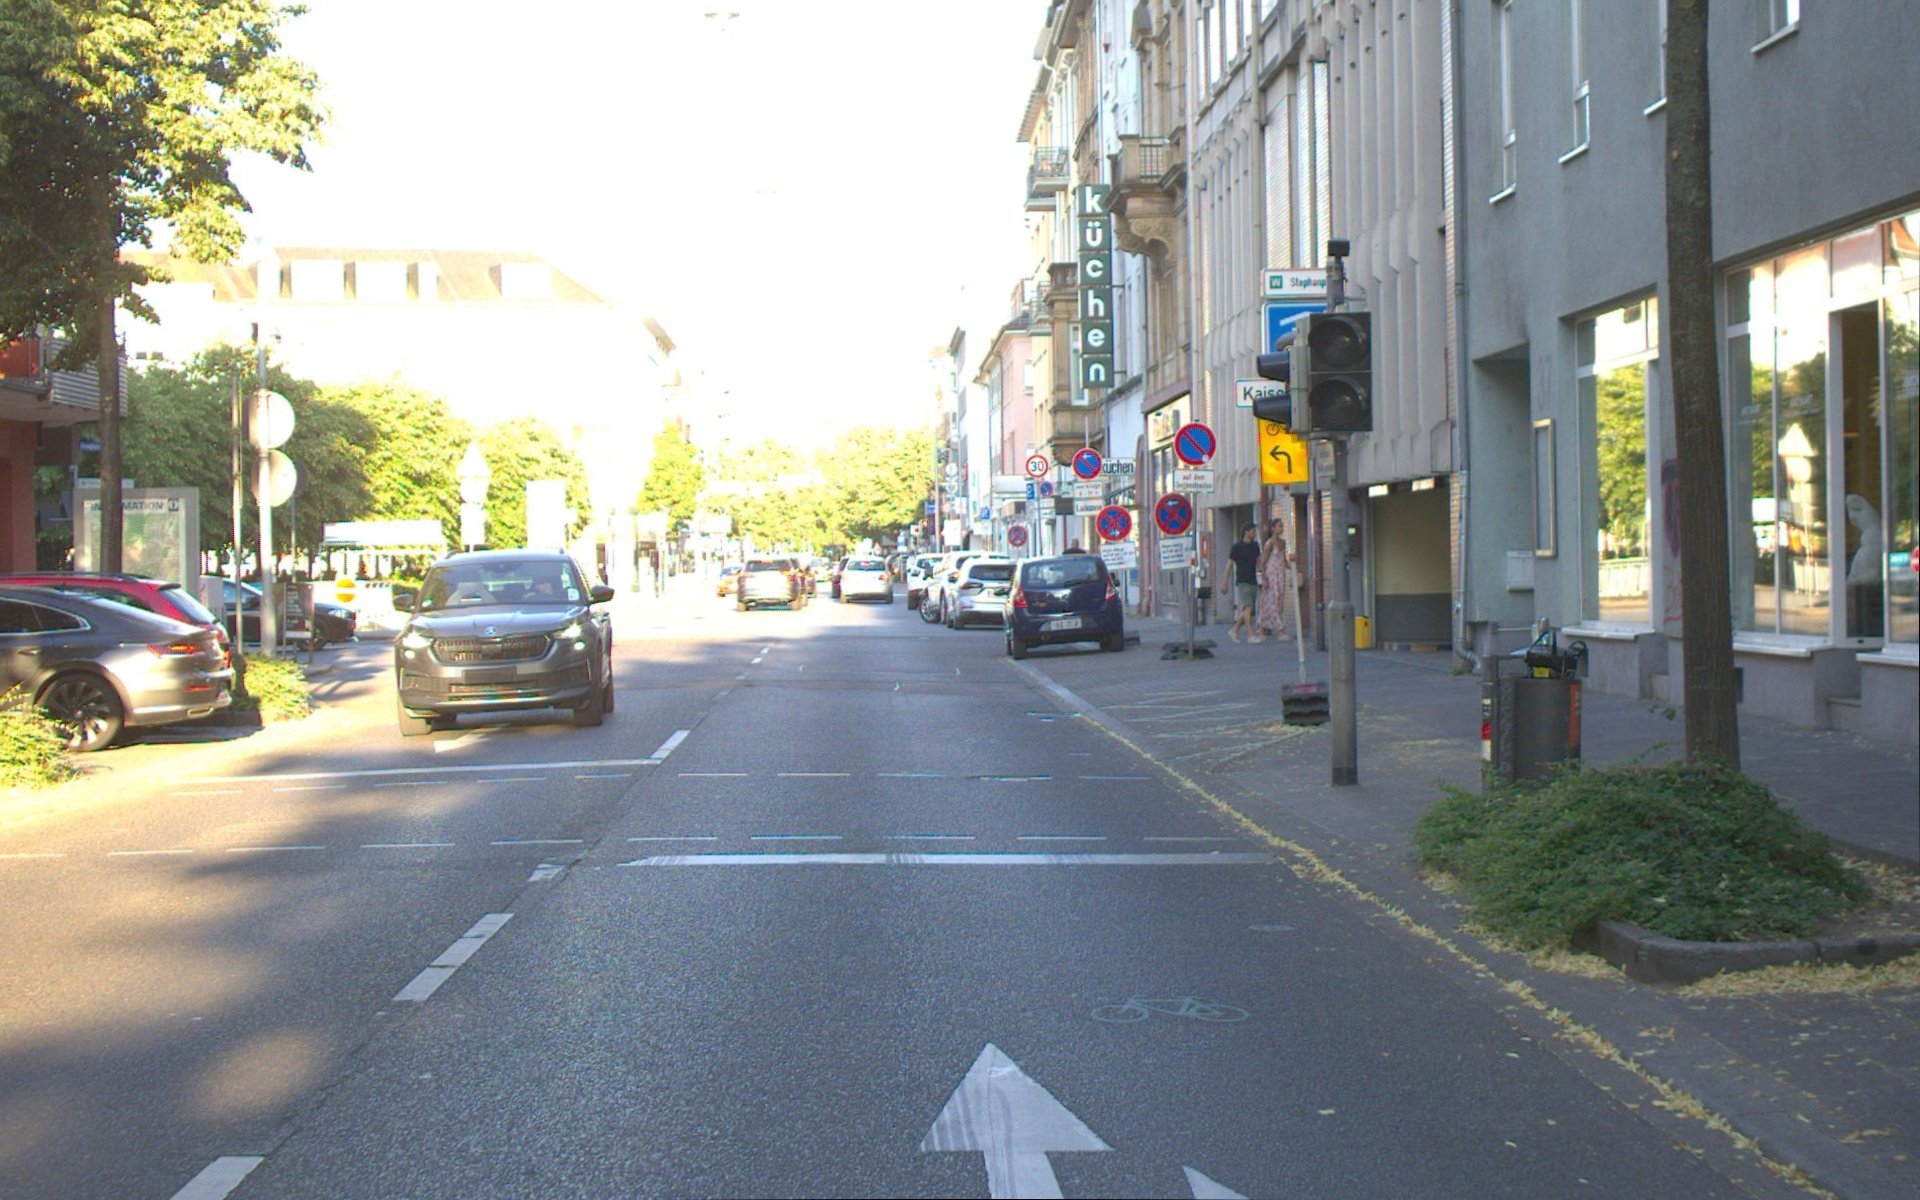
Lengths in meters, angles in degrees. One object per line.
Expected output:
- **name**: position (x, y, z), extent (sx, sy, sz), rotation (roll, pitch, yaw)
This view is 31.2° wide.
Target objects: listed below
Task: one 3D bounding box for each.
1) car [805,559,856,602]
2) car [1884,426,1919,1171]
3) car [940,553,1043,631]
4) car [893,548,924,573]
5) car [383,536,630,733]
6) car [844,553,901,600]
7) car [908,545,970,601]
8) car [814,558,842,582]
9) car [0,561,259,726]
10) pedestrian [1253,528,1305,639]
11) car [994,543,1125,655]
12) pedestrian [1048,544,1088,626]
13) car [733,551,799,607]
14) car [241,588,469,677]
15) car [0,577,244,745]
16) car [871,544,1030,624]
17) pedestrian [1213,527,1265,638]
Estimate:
- **car**: position (-5.006, -0.758, 132.765), extent (1.896, 1.576, 3.852), rotation (2, 0, -2)
- **car**: position (3.104, 0.482, 5.132), extent (2.038, 1.731, 4.711), rotation (-3, 1, -1)
- **car**: position (0.611, -0.155, 71.287), extent (1.758, 1.531, 4.822), rotation (1, 0, -4)
- **car**: position (-3.342, -2.602, 223.512), extent (1.896, 1.575, 3.852), rotation (-1, 1, -2)
- **car**: position (-4.205, 0.270, 32.499), extent (1.861, 1.686, 4.461), rotation (-1, 1, -2)
- **car**: position (-3.056, -0.822, 119.697), extent (1.896, 1.576, 4.000), rotation (1, 0, -2)
- **car**: position (-0.657, -0.822, 105.305), extent (1.729, 1.645, 4.285), rotation (1, 0, -2)
- **car**: position (-8.751, -1.975, 227.681), extent (1.779, 1.542, 4.000), rotation (-1, 1, -3)
- **car**: position (-8.939, 0.396, 32.991), extent (4.072, 1.531, 1.884), rotation (0, 1, -1)
- **pedestrian**: position (4.655, -0.248, 50.156), extent (0.604, 1.594, 0.774), rotation (-1, 1, -6)
- **car**: position (1.493, -0.042, 52.789), extent (1.759, 1.531, 4.000), rotation (-4, 1, -1)
- **pedestrian**: position (2.455, -0.342, 78.251), extent (0.772, 1.821, 1.011), rotation (-3, 1, -2)
- **car**: position (-5.846, -0.651, 104.064), extent (1.896, 1.644, 4.104), rotation (0, 0, -2)
- **car**: position (-11.146, 0.589, 63.547), extent (3.986, 1.576, 1.903), rotation (1, 0, -5)
- **car**: position (-8.668, 0.507, 29.873), extent (4.570, 1.403, 1.822), rotation (0, 1, -3)
- **car**: position (-0.264, -0.365, 79.078), extent (1.993, 1.755, 4.466), rotation (-1, 1, -24)
- **pedestrian**: position (4.045, -0.262, 49.831), extent (0.604, 1.594, 0.774), rotation (-1, 1, -6)
